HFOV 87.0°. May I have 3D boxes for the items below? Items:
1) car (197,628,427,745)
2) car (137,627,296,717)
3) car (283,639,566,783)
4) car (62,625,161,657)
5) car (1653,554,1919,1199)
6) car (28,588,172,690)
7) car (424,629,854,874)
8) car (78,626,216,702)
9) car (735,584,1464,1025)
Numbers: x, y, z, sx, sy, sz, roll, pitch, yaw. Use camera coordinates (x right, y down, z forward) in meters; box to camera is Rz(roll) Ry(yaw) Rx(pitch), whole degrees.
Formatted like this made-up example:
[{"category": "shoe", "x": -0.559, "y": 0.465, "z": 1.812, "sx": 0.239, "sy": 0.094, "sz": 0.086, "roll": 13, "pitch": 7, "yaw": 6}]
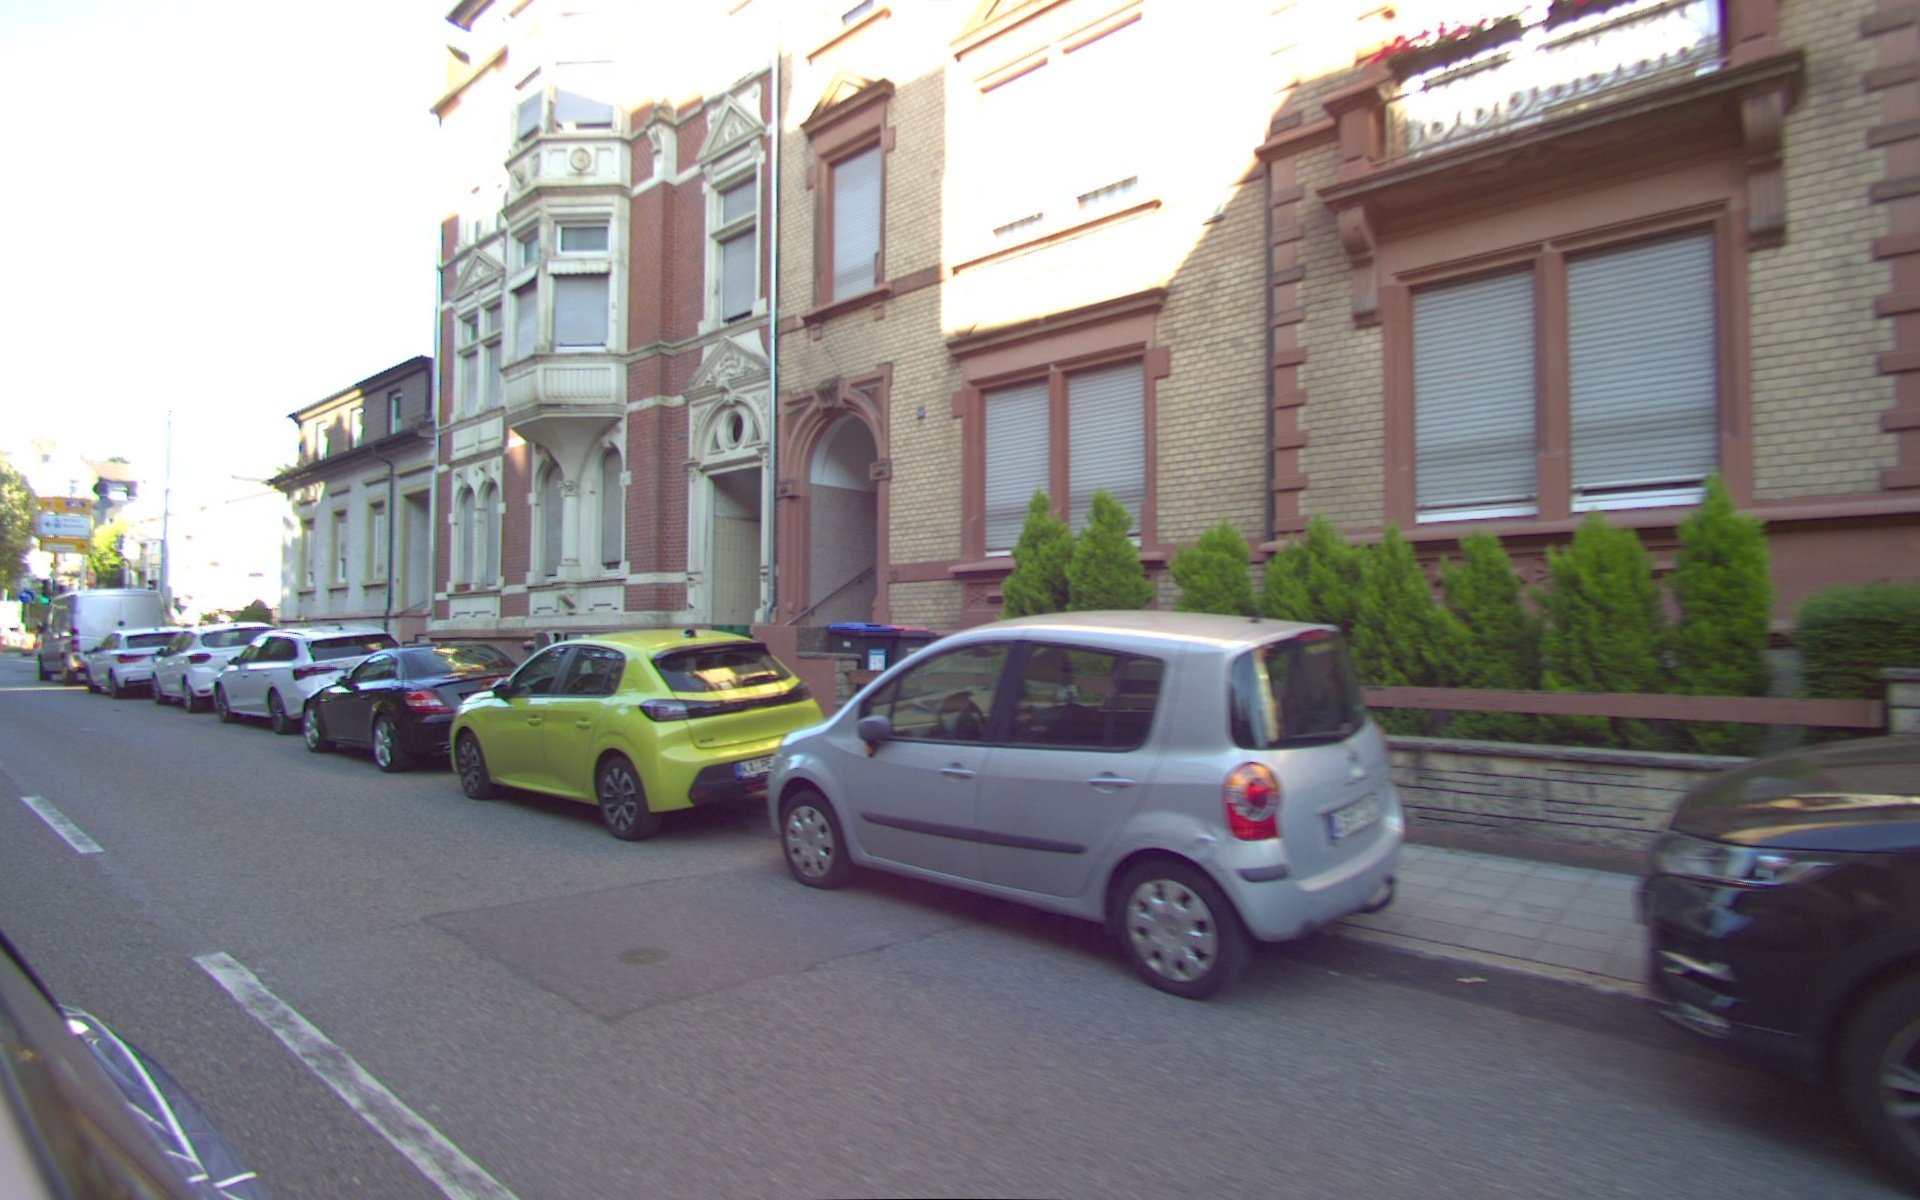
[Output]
[{"category": "car", "x": -10.109, "y": 1.230, "z": 15.661, "sx": 4.544, "sy": 1.548, "sz": 1.685, "roll": -2, "pitch": -2, "yaw": 39}, {"category": "car", "x": -14.281, "y": 1.305, "z": 19.366, "sx": 4.020, "sy": 1.514, "sz": 1.684, "roll": -2, "pitch": -2, "yaw": 42}, {"category": "car", "x": -6.350, "y": 1.161, "z": 11.833, "sx": 3.858, "sy": 1.377, "sz": 1.684, "roll": -2, "pitch": -2, "yaw": 41}, {"category": "car", "x": -55.760, "y": 2.697, "z": 66.565, "sx": 2.113, "sy": 1.980, "sz": 4.626, "roll": -3, "pitch": -2, "yaw": 35}, {"category": "car", "x": 4.277, "y": 0.706, "z": 2.135, "sx": 4.439, "sy": 1.721, "sz": 1.684, "roll": -2, "pitch": -2, "yaw": 42}, {"category": "car", "x": -23.188, "y": 1.023, "z": 27.189, "sx": 6.010, "sy": 2.479, "sz": 2.046, "roll": -2, "pitch": -2, "yaw": 41}, {"category": "car", "x": -2.898, "y": 1.048, "z": 8.637, "sx": 4.072, "sy": 1.514, "sz": 1.684, "roll": 0, "pitch": -1, "yaw": 42}, {"category": "car", "x": -17.974, "y": 1.364, "z": 22.323, "sx": 3.820, "sy": 1.514, "sz": 1.685, "roll": -2, "pitch": -2, "yaw": 40}, {"category": "car", "x": 0.542, "y": 0.793, "z": 5.538, "sx": 3.634, "sy": 1.596, "sz": 1.684, "roll": -2, "pitch": -2, "yaw": 42}]
